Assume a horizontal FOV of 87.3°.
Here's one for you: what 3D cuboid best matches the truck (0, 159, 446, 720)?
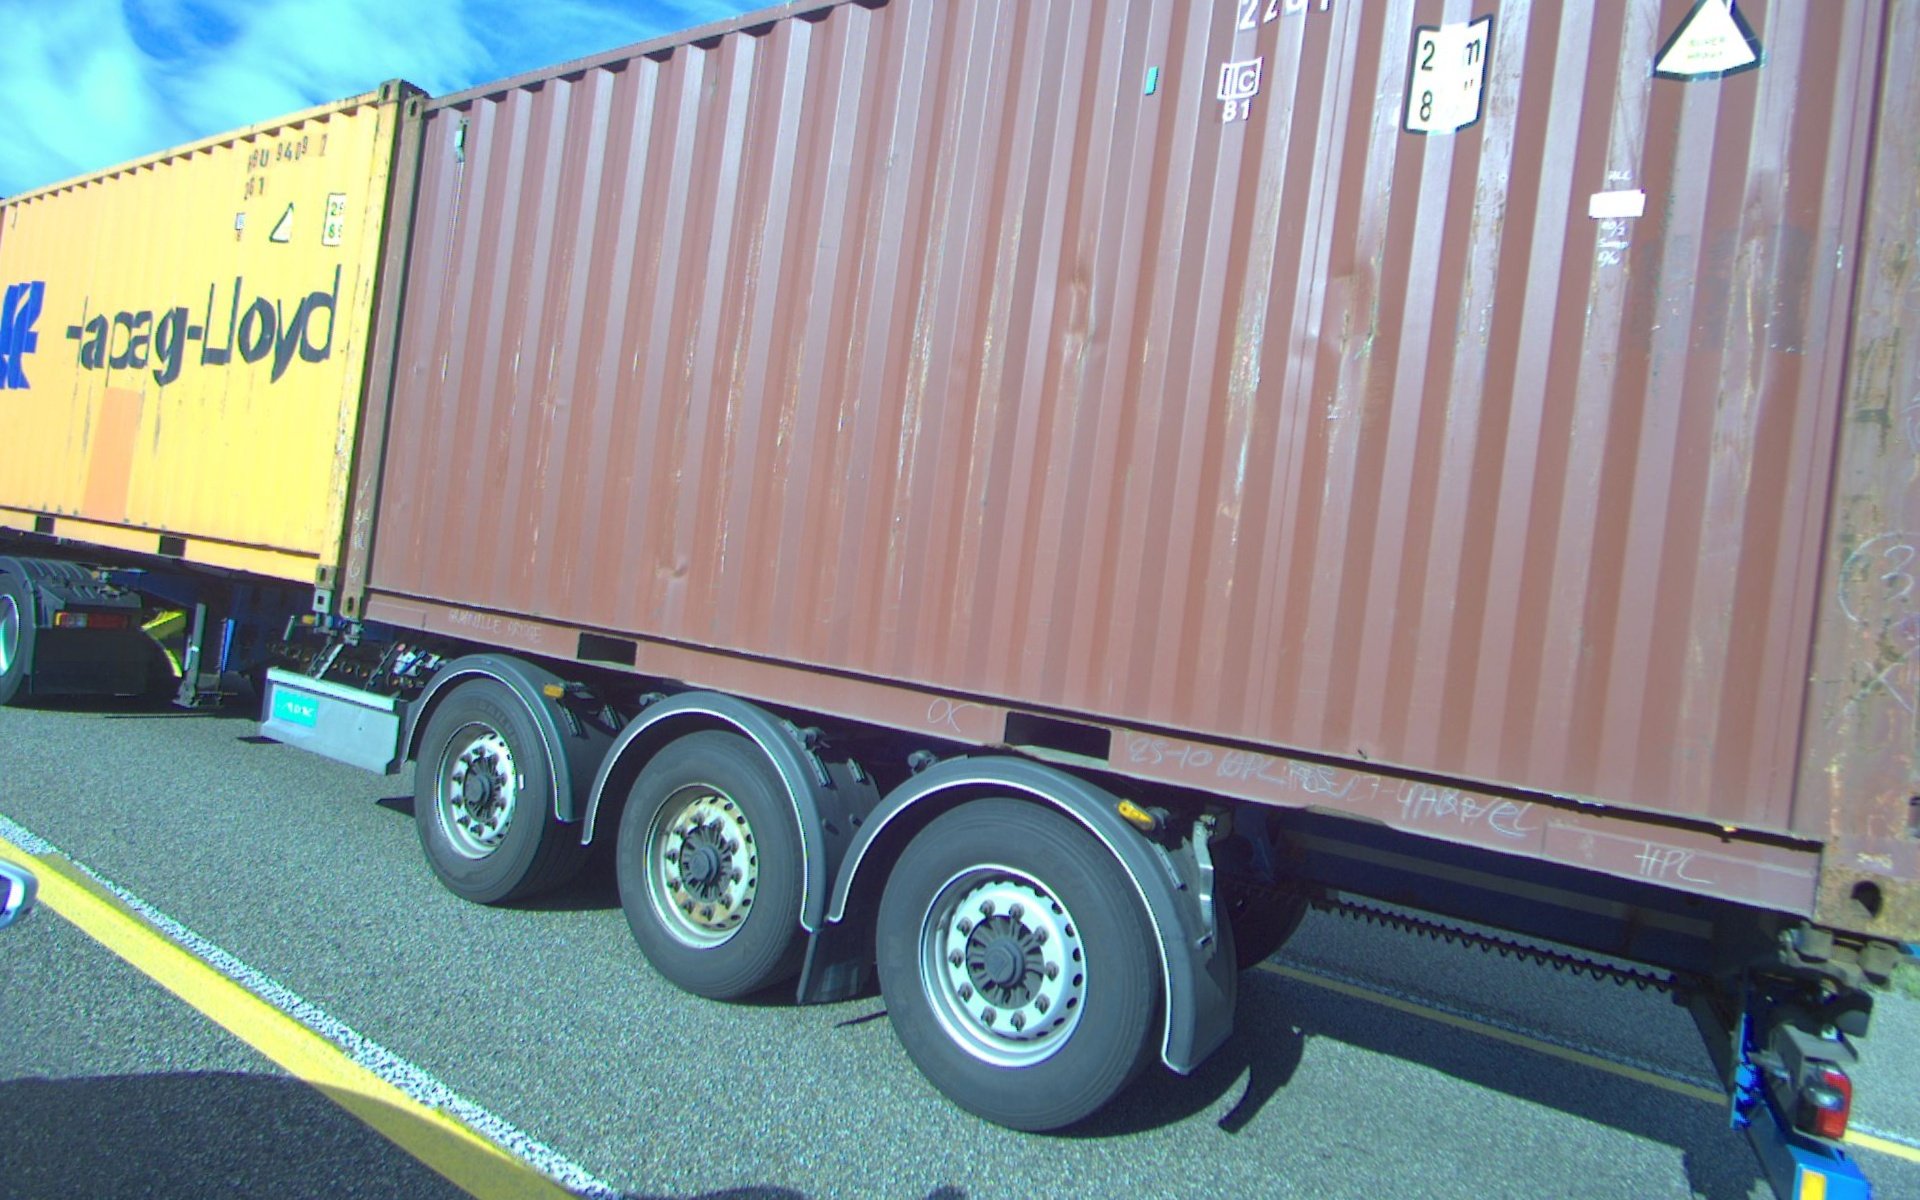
[{"bbox_3d":[-7.868,-1.244,9.335,5.693,3.825,2.500,7,-1,31],"label":"truck"}]

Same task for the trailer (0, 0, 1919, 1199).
[{"bbox_3d":[-2.417,-0.626,6.054,11.932,3.819,2.476,7,-1,31],"label":"trailer"}]
